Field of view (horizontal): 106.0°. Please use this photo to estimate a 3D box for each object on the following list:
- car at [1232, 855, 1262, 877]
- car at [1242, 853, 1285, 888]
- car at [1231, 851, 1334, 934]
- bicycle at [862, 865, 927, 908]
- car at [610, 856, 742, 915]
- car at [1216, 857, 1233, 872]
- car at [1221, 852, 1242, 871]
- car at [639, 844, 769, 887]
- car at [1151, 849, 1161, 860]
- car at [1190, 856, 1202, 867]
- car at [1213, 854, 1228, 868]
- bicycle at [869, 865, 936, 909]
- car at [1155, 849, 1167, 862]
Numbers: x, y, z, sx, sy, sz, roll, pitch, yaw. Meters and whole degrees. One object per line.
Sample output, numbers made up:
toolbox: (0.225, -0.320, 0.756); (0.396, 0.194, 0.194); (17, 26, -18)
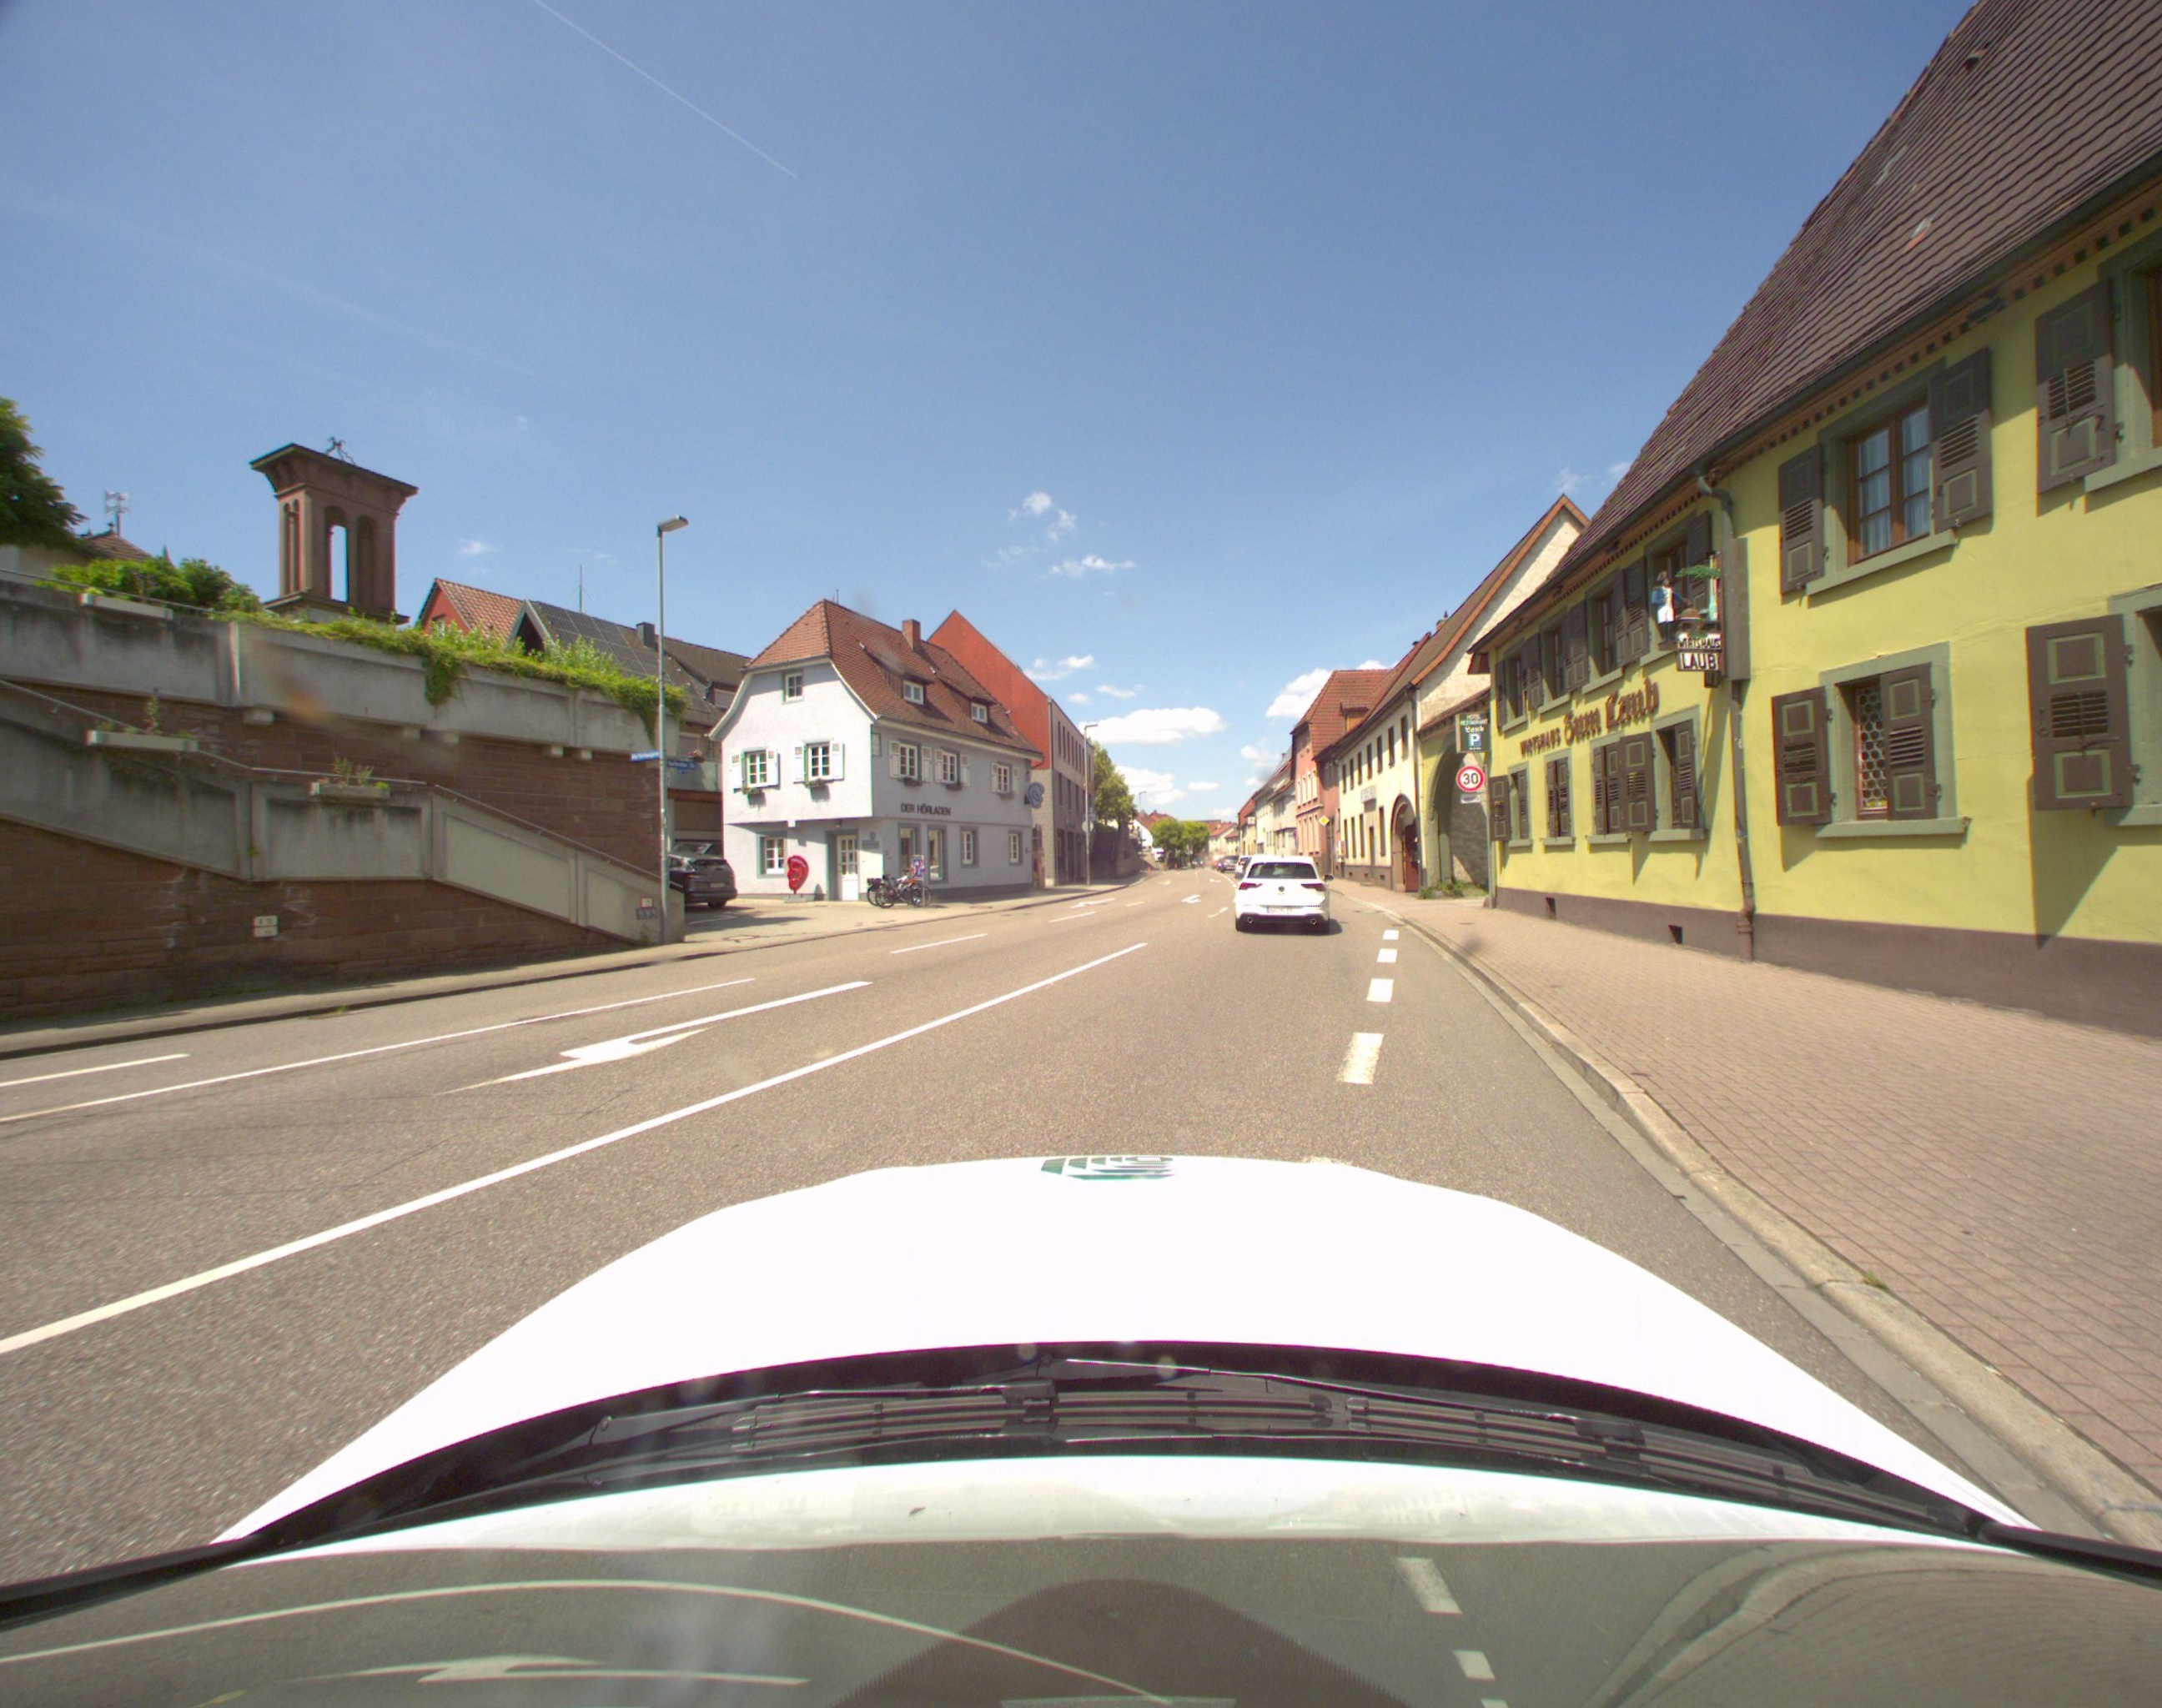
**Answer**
car: (11.770, 0.850, 58.050); (1.798, 1.468, 4.007); (0, -1, 7)
car: (8.125, 0.702, 36.482); (1.796, 1.468, 4.012); (0, -1, 11)
car: (4.070, 0.713, 16.614); (1.795, 1.468, 4.014); (0, -1, 13)
bicycle: (-5.682, 0.985, 24.857); (1.835, 1.249, 0.573); (1, 1, -28)
car: (-11.679, 0.828, 23.401); (3.949, 1.520, 1.998); (0, 1, 40)
car: (15.730, 1.108, 89.618); (1.765, 1.538, 4.010); (-1, -1, 9)
car: (13.493, 0.660, 73.000); (1.765, 1.538, 4.010); (-1, -1, 9)
car: (-13.961, 0.414, 30.340); (1.841, 1.483, 4.025); (-1, -1, 35)
car: (12.187, 0.103, 132.601); (1.568, 1.361, 3.865); (-1, 5, 7)
car: (18.051, 1.170, 127.875); (1.660, 1.657, 4.026); (-2, -1, 8)
car: (17.953, 0.884, 104.901); (1.765, 1.765, 4.009); (-1, -1, 8)
bicycle: (-5.322, 0.978, 24.320); (1.835, 1.249, 0.573); (1, 1, -28)
car: (11.903, 0.194, 121.176); (1.684, 1.542, 3.865); (-1, 5, 7)
